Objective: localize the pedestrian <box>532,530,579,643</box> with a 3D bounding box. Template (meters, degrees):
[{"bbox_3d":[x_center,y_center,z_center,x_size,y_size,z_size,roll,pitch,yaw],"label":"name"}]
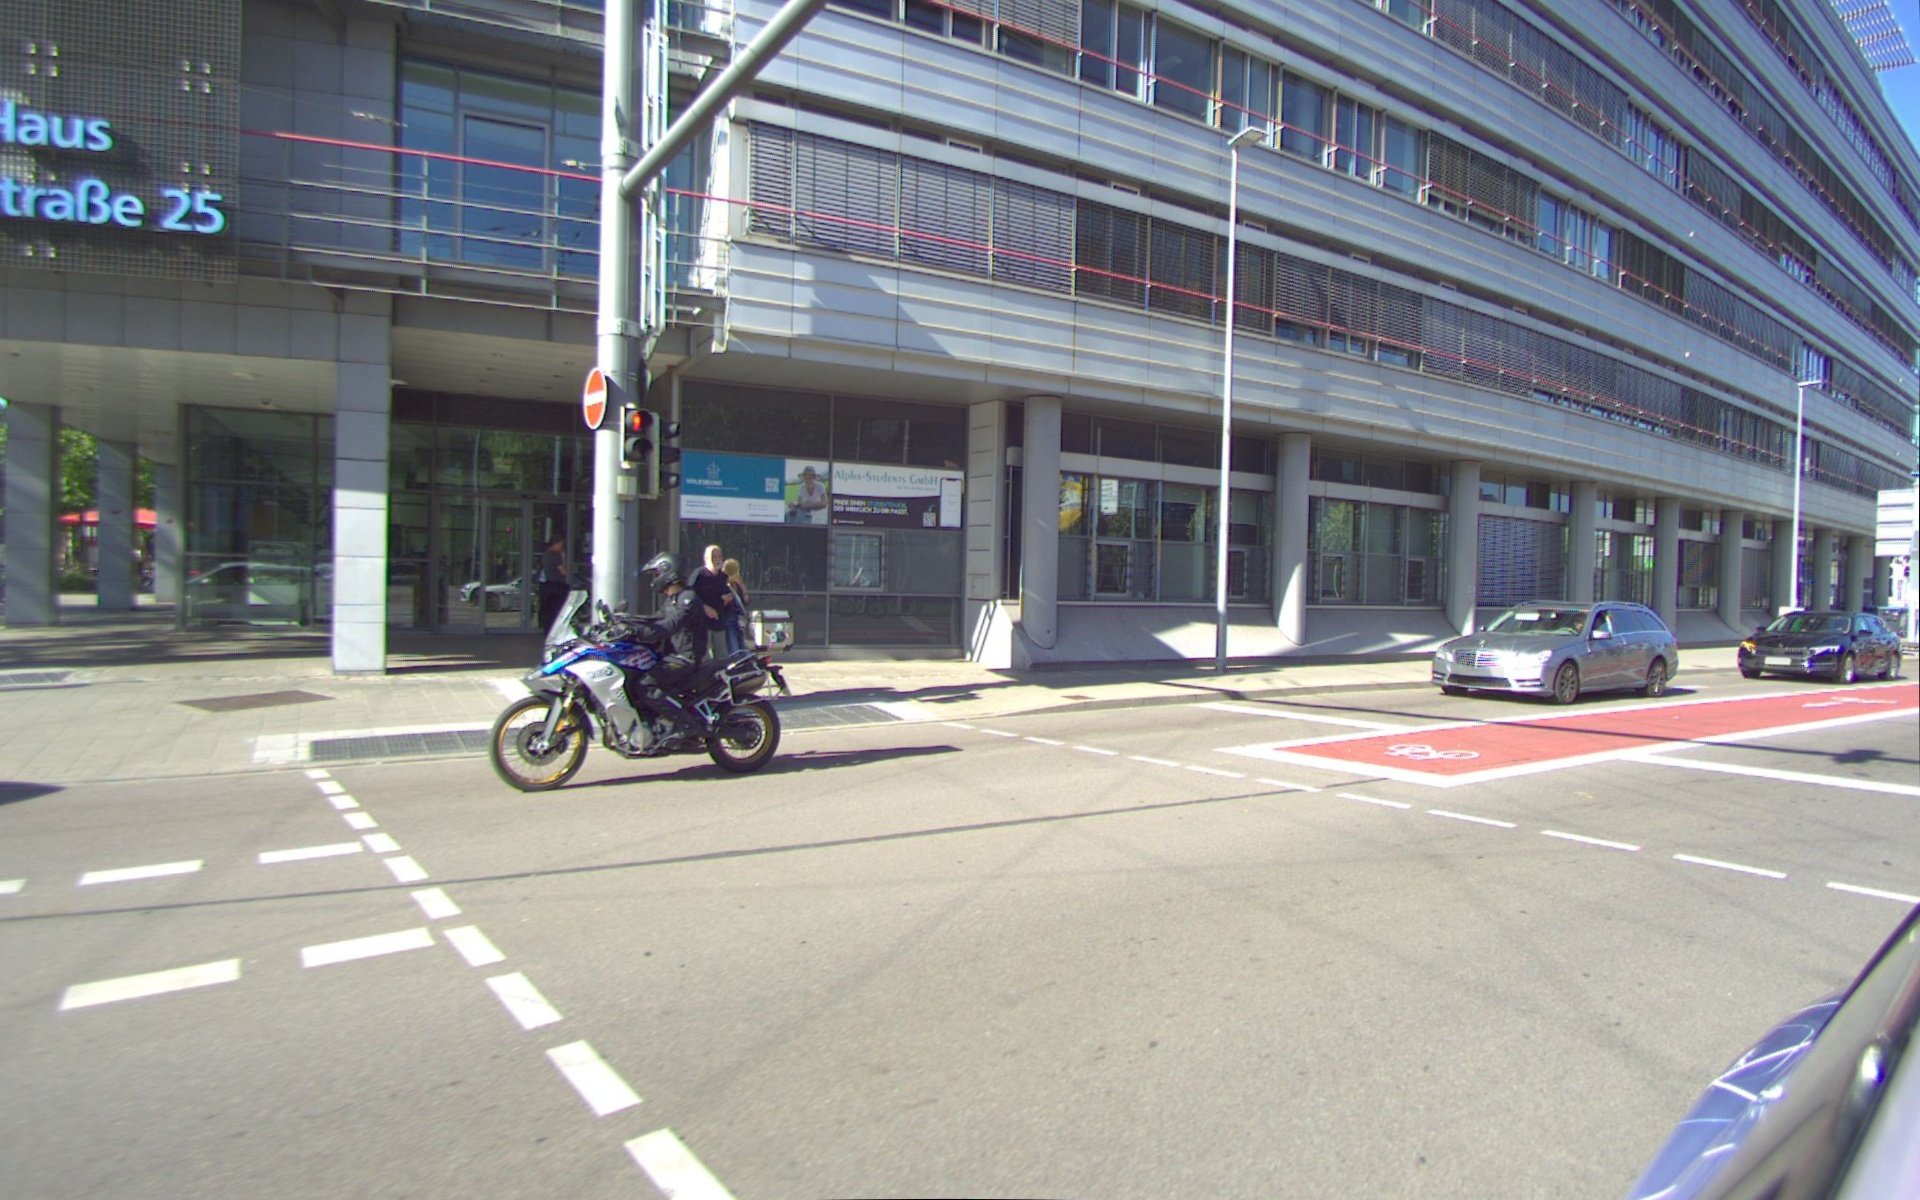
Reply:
[{"bbox_3d":[-6.605,-0.217,16.530,0.475,1.807,0.534,2,1,45],"label":"pedestrian"}]

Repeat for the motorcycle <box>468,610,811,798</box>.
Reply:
[{"bbox_3d":[-2.387,0.697,7.682,2.343,1.216,0.832,0,0,-32],"label":"motorcycle"}]

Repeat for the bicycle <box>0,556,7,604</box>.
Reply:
[{"bbox_3d":[-25.742,-0.529,26.061,1.698,1.235,0.469,0,2,-38],"label":"bicycle"}]

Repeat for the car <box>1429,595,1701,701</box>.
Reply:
[{"bbox_3d":[9.538,0.672,15.830,4.694,1.413,1.728,1,1,-33],"label":"car"}]

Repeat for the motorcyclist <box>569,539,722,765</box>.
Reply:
[{"bbox_3d":[-2.394,0.360,7.685,0.923,1.581,0.832,0,0,-32],"label":"motorcyclist"}]

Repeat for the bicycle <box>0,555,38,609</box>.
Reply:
[{"bbox_3d":[-22.081,-0.415,22.942,1.698,1.235,0.469,0,2,-38],"label":"bicycle"}]

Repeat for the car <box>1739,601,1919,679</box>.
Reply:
[{"bbox_3d":[18.329,0.777,21.208,4.546,1.440,1.728,1,1,-33],"label":"car"}]

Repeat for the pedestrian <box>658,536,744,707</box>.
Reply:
[{"bbox_3d":[-2.885,0.222,11.285,0.601,1.820,0.635,3,2,22],"label":"pedestrian"}]

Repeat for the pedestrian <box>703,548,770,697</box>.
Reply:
[{"bbox_3d":[-2.590,0.245,11.750,0.556,1.666,0.425,3,2,22],"label":"pedestrian"}]

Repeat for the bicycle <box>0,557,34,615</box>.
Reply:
[{"bbox_3d":[-21.150,-0.304,21.819,1.698,1.235,0.469,0,2,-38],"label":"bicycle"}]
